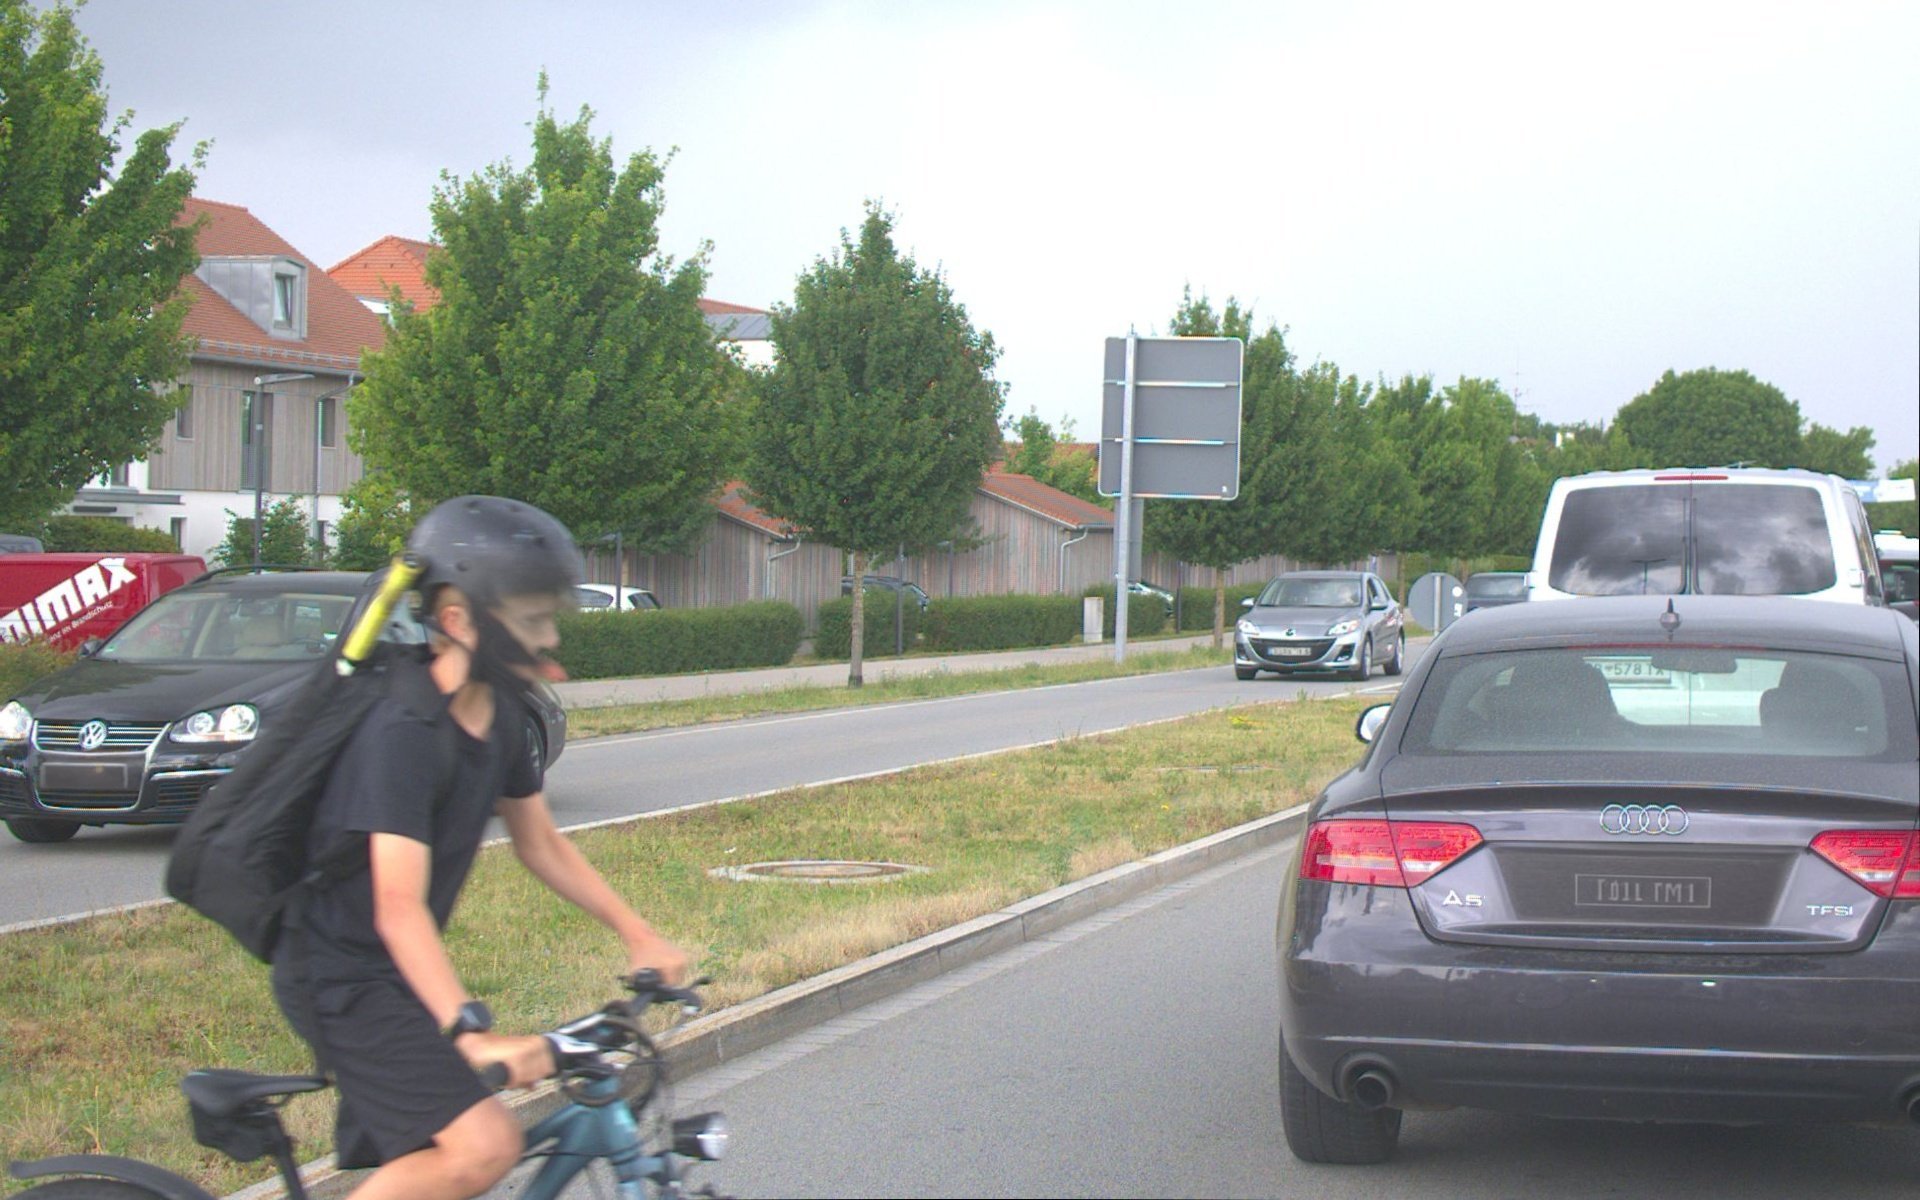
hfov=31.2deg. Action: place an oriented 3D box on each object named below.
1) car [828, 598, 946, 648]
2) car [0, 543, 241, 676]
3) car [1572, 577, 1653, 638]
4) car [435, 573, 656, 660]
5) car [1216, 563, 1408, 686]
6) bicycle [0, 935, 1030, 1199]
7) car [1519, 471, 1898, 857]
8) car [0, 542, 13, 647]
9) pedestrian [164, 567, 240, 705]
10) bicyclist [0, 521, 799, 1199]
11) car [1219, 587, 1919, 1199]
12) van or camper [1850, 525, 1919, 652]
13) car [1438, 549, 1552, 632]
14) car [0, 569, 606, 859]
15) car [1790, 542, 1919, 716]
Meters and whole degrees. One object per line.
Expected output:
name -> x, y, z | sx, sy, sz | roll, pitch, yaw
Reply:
car -> -1.671, 0.523, 78.833 | 2.473, 1.025, 1.185 | 2, 1, 11
car -> -12.360, 0.092, 47.000 | 4.535, 1.674, 1.998 | 2, 1, 19
car -> 17.721, 0.187, 93.201 | 1.868, 1.568, 3.997 | 2, 1, 14
car -> -7.758, 0.287, 64.450 | 3.731, 1.477, 1.685 | 2, 1, 13
car -> 4.780, 0.287, 46.210 | 1.731, 1.405, 4.203 | 4, 2, 16
bicycle -> -0.794, 0.978, 4.711 | 1.709, 0.943, 0.497 | 0, 0, 15
car -> 4.259, 0.302, 19.348 | 1.868, 1.927, 3.997 | 0, 0, 14
car -> -17.712, -0.134, 56.200 | 1.996, 1.766, 4.460 | 2, 0, 21
pedestrian -> -8.695, 0.408, 39.457 | 0.582, 1.553, 0.659 | 2, 1, 14
bicyclist -> -0.745, 0.616, 4.678 | 0.867, 1.441, 0.724 | 0, 1, 15
car -> 1.937, 0.689, 9.279 | 1.785, 1.387, 4.130 | 1, 1, 14
van or camper -> 25.924, -0.284, 94.452 | 2.627, 3.312, 6.816 | 2, 0, 15
car -> 10.852, -0.203, 69.559 | 1.868, 1.568, 3.997 | 2, 1, 14
car -> -3.652, 0.535, 19.178 | 1.755, 1.411, 4.452 | 0, 1, 17
car -> 9.338, 0.262, 34.380 | 1.778, 1.612, 3.997 | 2, 1, 16
